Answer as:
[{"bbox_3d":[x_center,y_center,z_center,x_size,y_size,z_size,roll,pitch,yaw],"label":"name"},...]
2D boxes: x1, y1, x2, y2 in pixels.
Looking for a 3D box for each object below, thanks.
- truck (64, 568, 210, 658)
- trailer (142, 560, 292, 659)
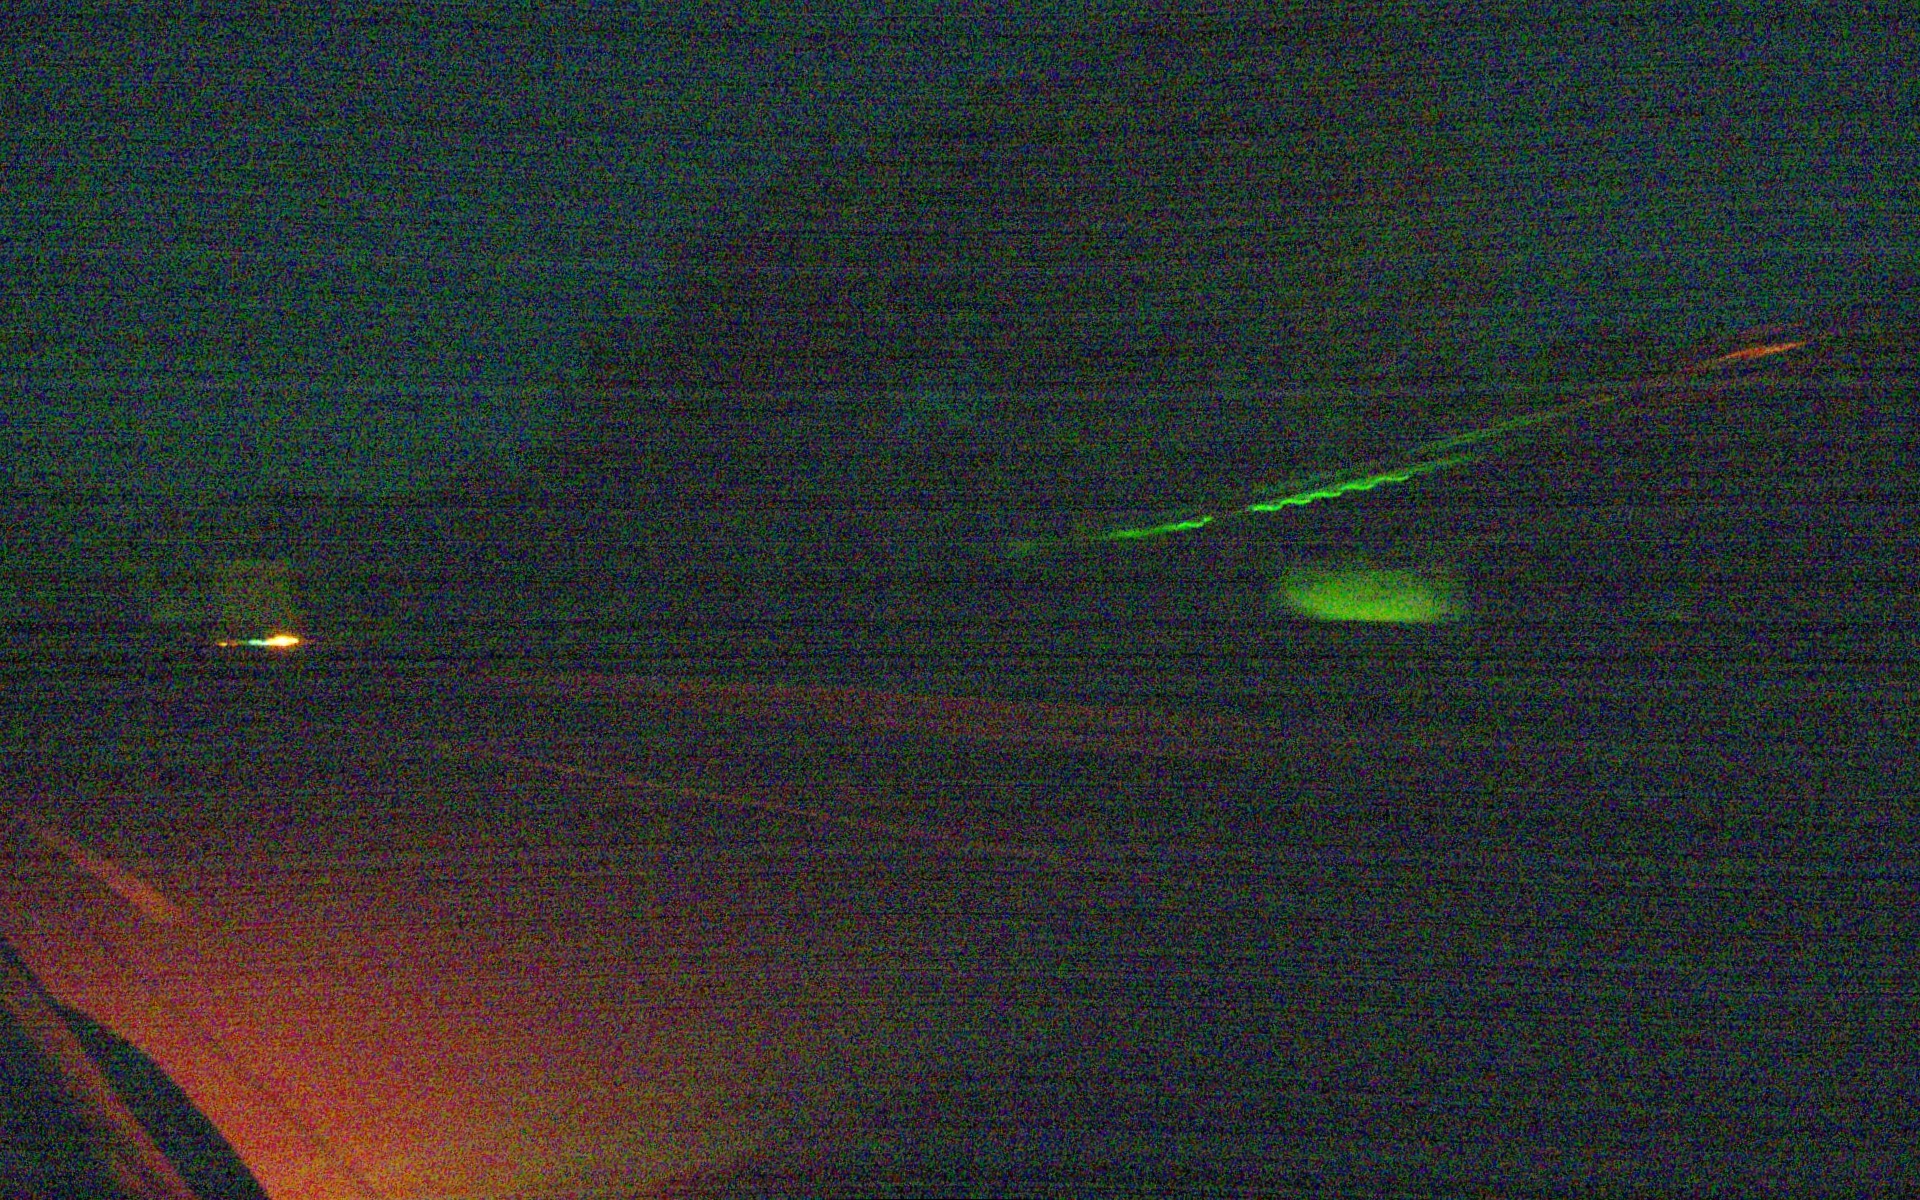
[{"bbox_3d":[-40.755,0.679,49.946,10.626,4.075,2.658,-1,-2,34],"label":"truck"},{"bbox_3d":[-32.676,0.483,44.362,9.028,3.987,2.693,-1,-2,36],"label":"trailer"}]
